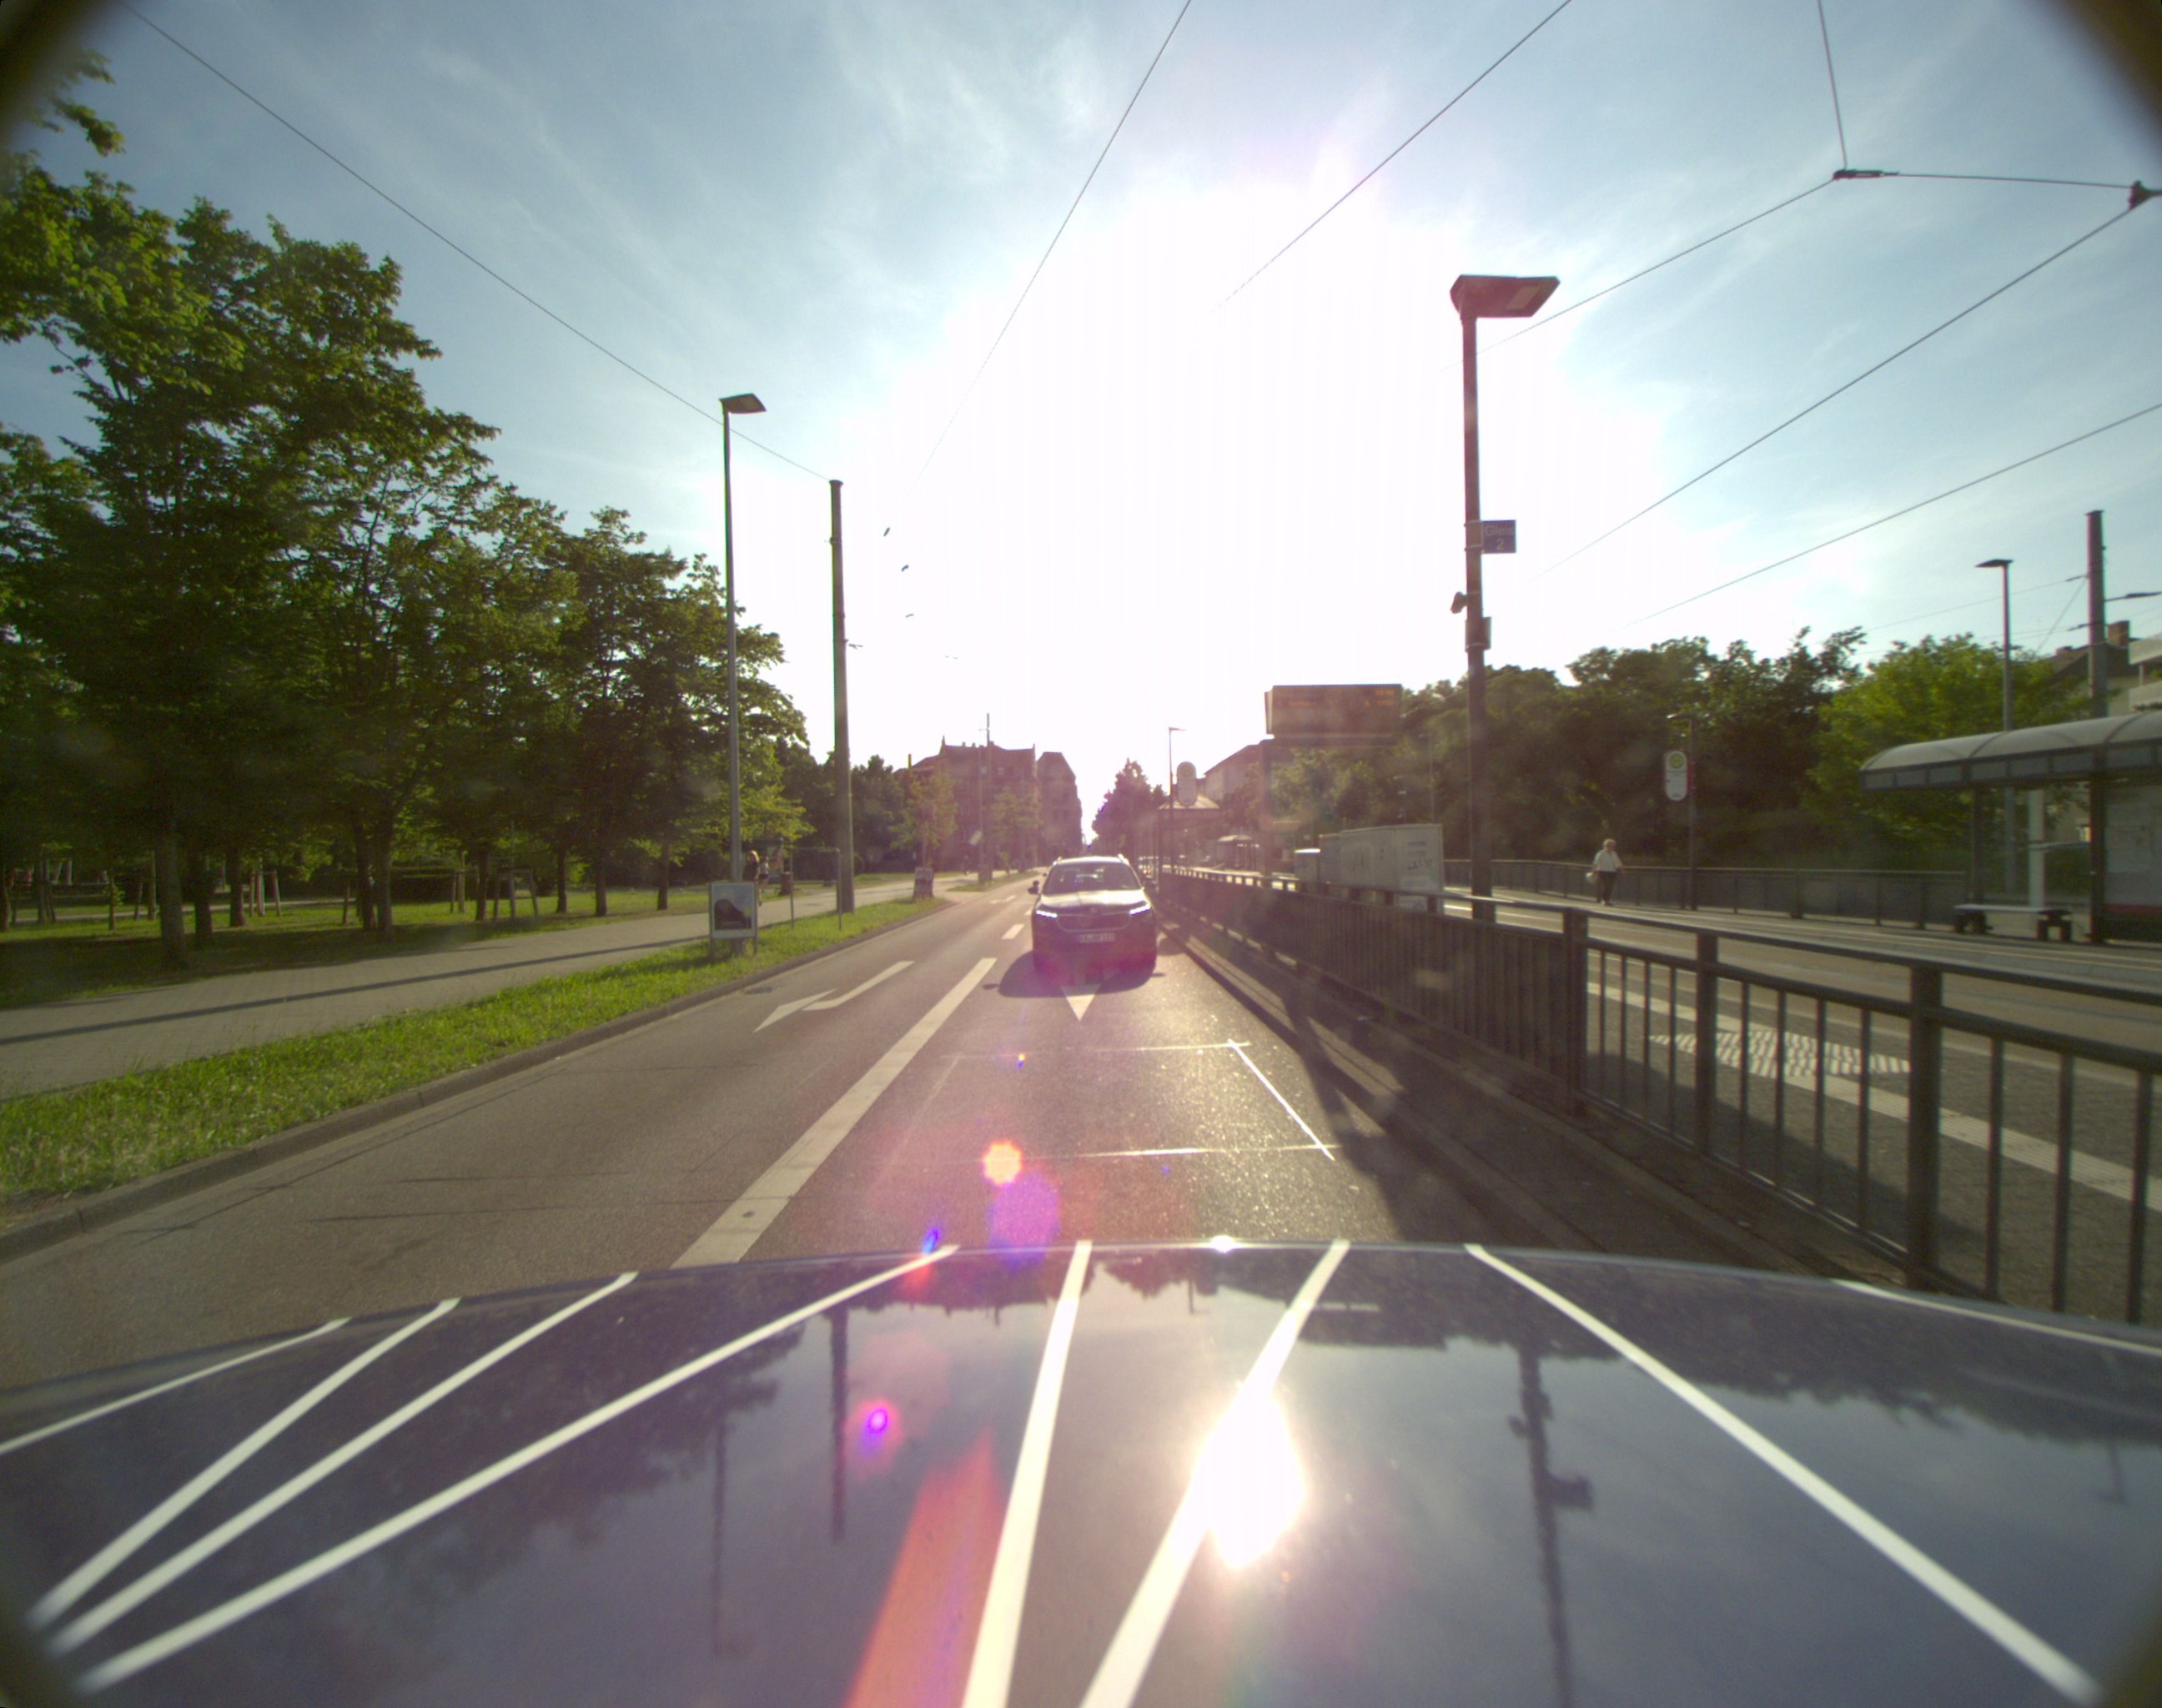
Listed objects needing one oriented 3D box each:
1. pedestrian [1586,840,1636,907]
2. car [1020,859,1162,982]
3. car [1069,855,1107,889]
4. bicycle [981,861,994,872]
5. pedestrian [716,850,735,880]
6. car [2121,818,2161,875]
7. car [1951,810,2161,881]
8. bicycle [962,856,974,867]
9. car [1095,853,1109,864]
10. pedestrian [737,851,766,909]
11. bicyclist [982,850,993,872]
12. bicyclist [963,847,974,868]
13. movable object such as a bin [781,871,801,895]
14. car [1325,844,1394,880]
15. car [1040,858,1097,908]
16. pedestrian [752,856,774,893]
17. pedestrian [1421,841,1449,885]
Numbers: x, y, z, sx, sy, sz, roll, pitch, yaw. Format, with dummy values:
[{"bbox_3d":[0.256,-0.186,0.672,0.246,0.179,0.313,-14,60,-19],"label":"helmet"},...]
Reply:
[{"bbox_3d":[13.030,0.477,18.697,0.708,1.618,0.727,-1,1,0],"label":"pedestrian"},{"bbox_3d":[0.137,0.884,11.930,1.781,1.496,4.000,-3,0,0],"label":"car"},{"bbox_3d":[0.327,0.810,36.403,1.672,1.496,3.871,-1,0,0],"label":"car"},{"bbox_3d":[-7.842,1.064,63.884,0.740,0.912,2.095,-1,0,2],"label":"bicycle"},{"bbox_3d":[-25.745,0.783,55.028,0.911,2.145,0.891,-1,0,12],"label":"pedestrian"},{"bbox_3d":[34.562,-0.256,22.579,3.991,1.744,1.857,-1,0,19],"label":"car"},{"bbox_3d":[41.580,-0.316,31.889,6.587,2.792,1.775,-1,0,21],"label":"car"},{"bbox_3d":[-9.424,0.624,63.568,0.740,0.912,2.094,-1,0,-1],"label":"bicycle"},{"bbox_3d":[3.299,0.723,121.022,1.999,1.674,3.999,-1,0,-2],"label":"car"},{"bbox_3d":[-9.846,0.761,22.717,0.558,1.691,0.662,-1,1,-1],"label":"pedestrian"},{"bbox_3d":[-7.865,0.596,63.701,0.730,1.764,1.015,-1,2,2],"label":"bicyclist"},{"bbox_3d":[-9.407,0.269,63.734,0.754,1.763,1.118,-1,1,-1],"label":"bicyclist"},{"bbox_3d":[-11.293,1.125,29.552,0.502,0.898,0.526,0,1,39],"label":"movable object such as a bin"},{"bbox_3d":[16.489,0.430,45.251,2.151,2.002,5.387,-1,0,0],"label":"car"},{"bbox_3d":[-0.380,0.925,25.776,1.781,1.496,4.000,-1,0,0],"label":"car"},{"bbox_3d":[-14.424,0.917,34.496,0.660,1.641,0.623,-1,1,25],"label":"pedestrian"},{"bbox_3d":[13.380,0.333,28.714,0.736,1.618,0.689,-1,1,0],"label":"pedestrian"}]
